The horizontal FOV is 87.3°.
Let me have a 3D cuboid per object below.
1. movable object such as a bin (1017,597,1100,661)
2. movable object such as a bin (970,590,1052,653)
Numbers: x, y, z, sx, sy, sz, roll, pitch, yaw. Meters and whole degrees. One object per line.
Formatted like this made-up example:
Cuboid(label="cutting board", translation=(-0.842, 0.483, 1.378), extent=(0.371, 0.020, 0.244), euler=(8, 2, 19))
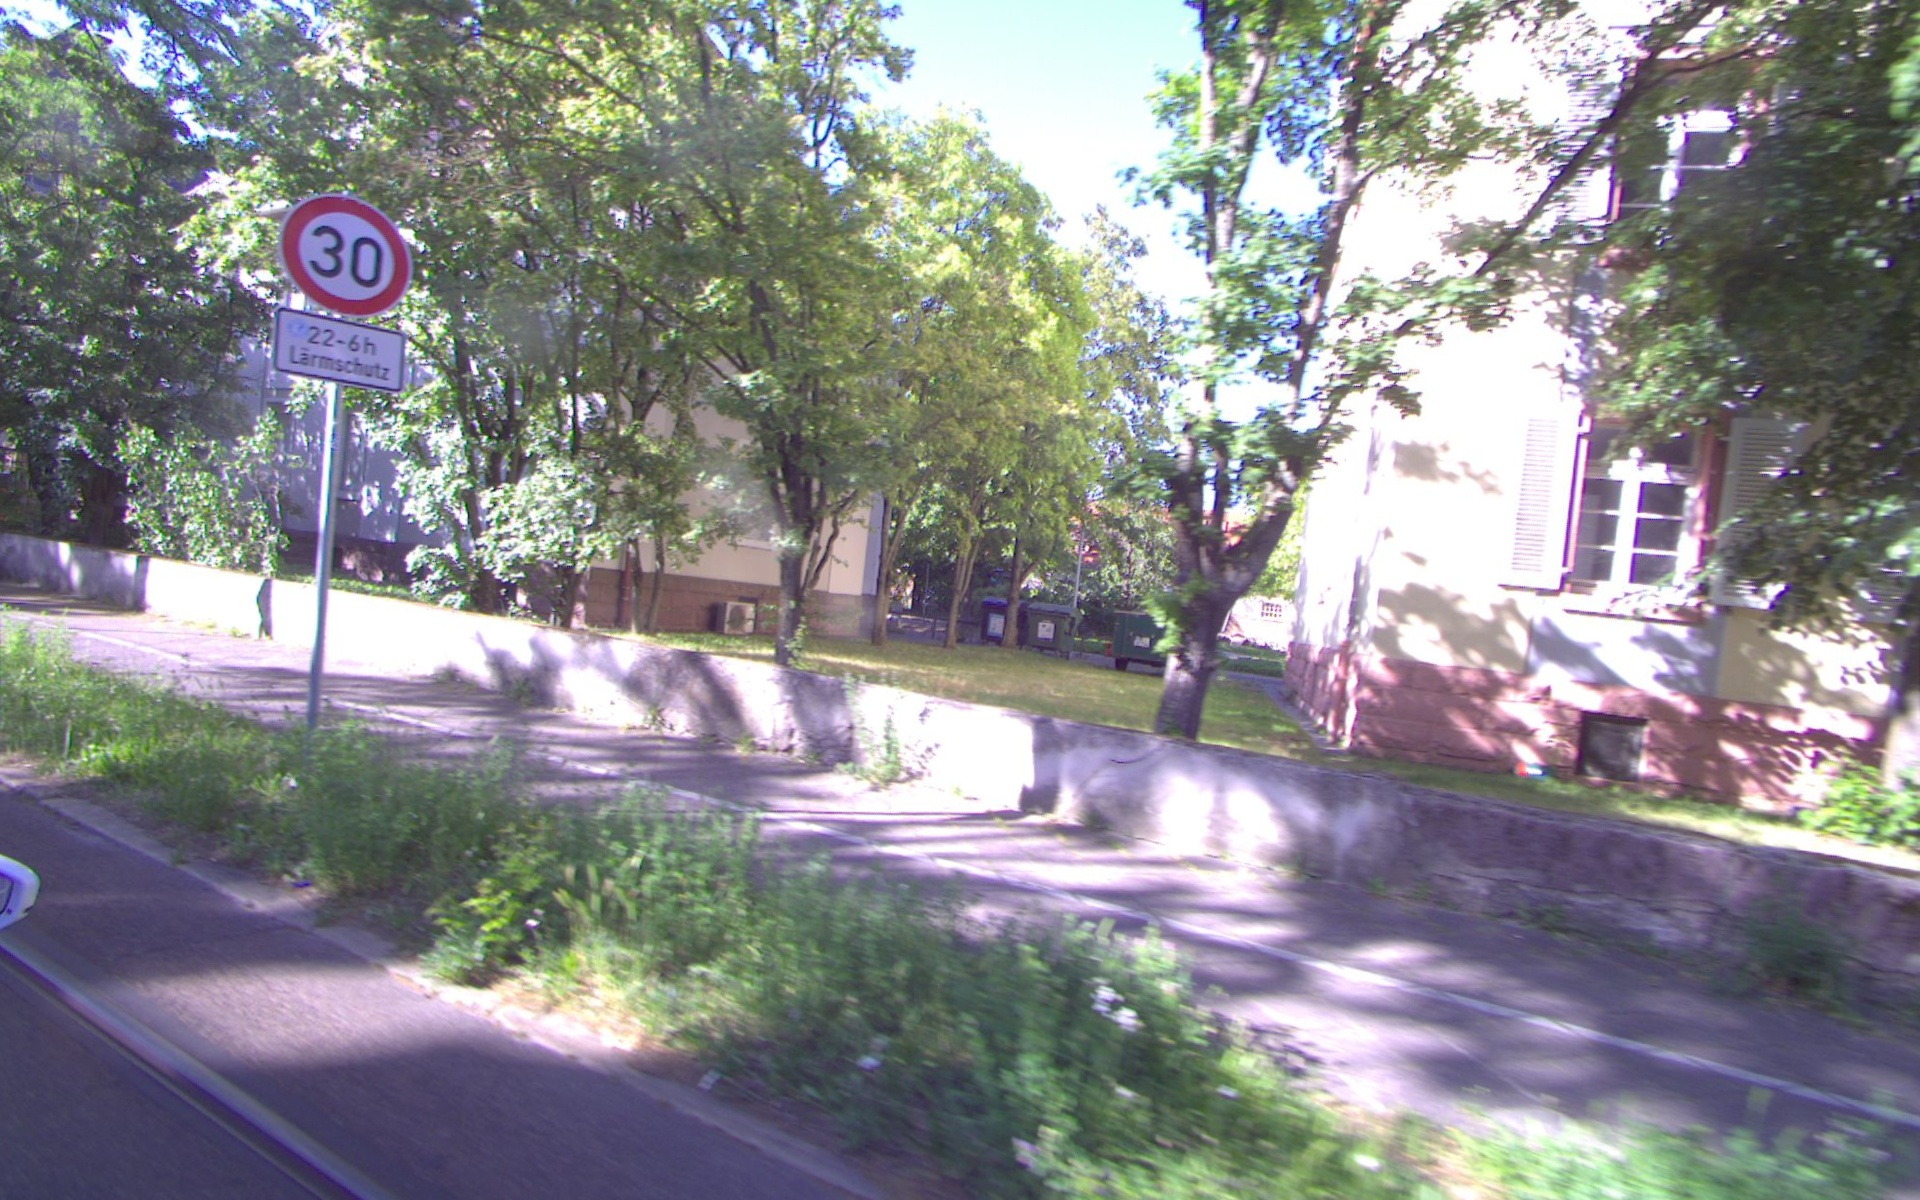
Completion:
Cuboid(label="movable object such as a bin", translation=(2.776, 0.819, 28.063), extent=(1.460, 1.459, 2.233), euler=(7, -2, 26))
Cuboid(label="movable object such as a bin", translation=(1.486, 0.637, 28.723), extent=(1.460, 1.459, 2.233), euler=(7, -2, 26))
